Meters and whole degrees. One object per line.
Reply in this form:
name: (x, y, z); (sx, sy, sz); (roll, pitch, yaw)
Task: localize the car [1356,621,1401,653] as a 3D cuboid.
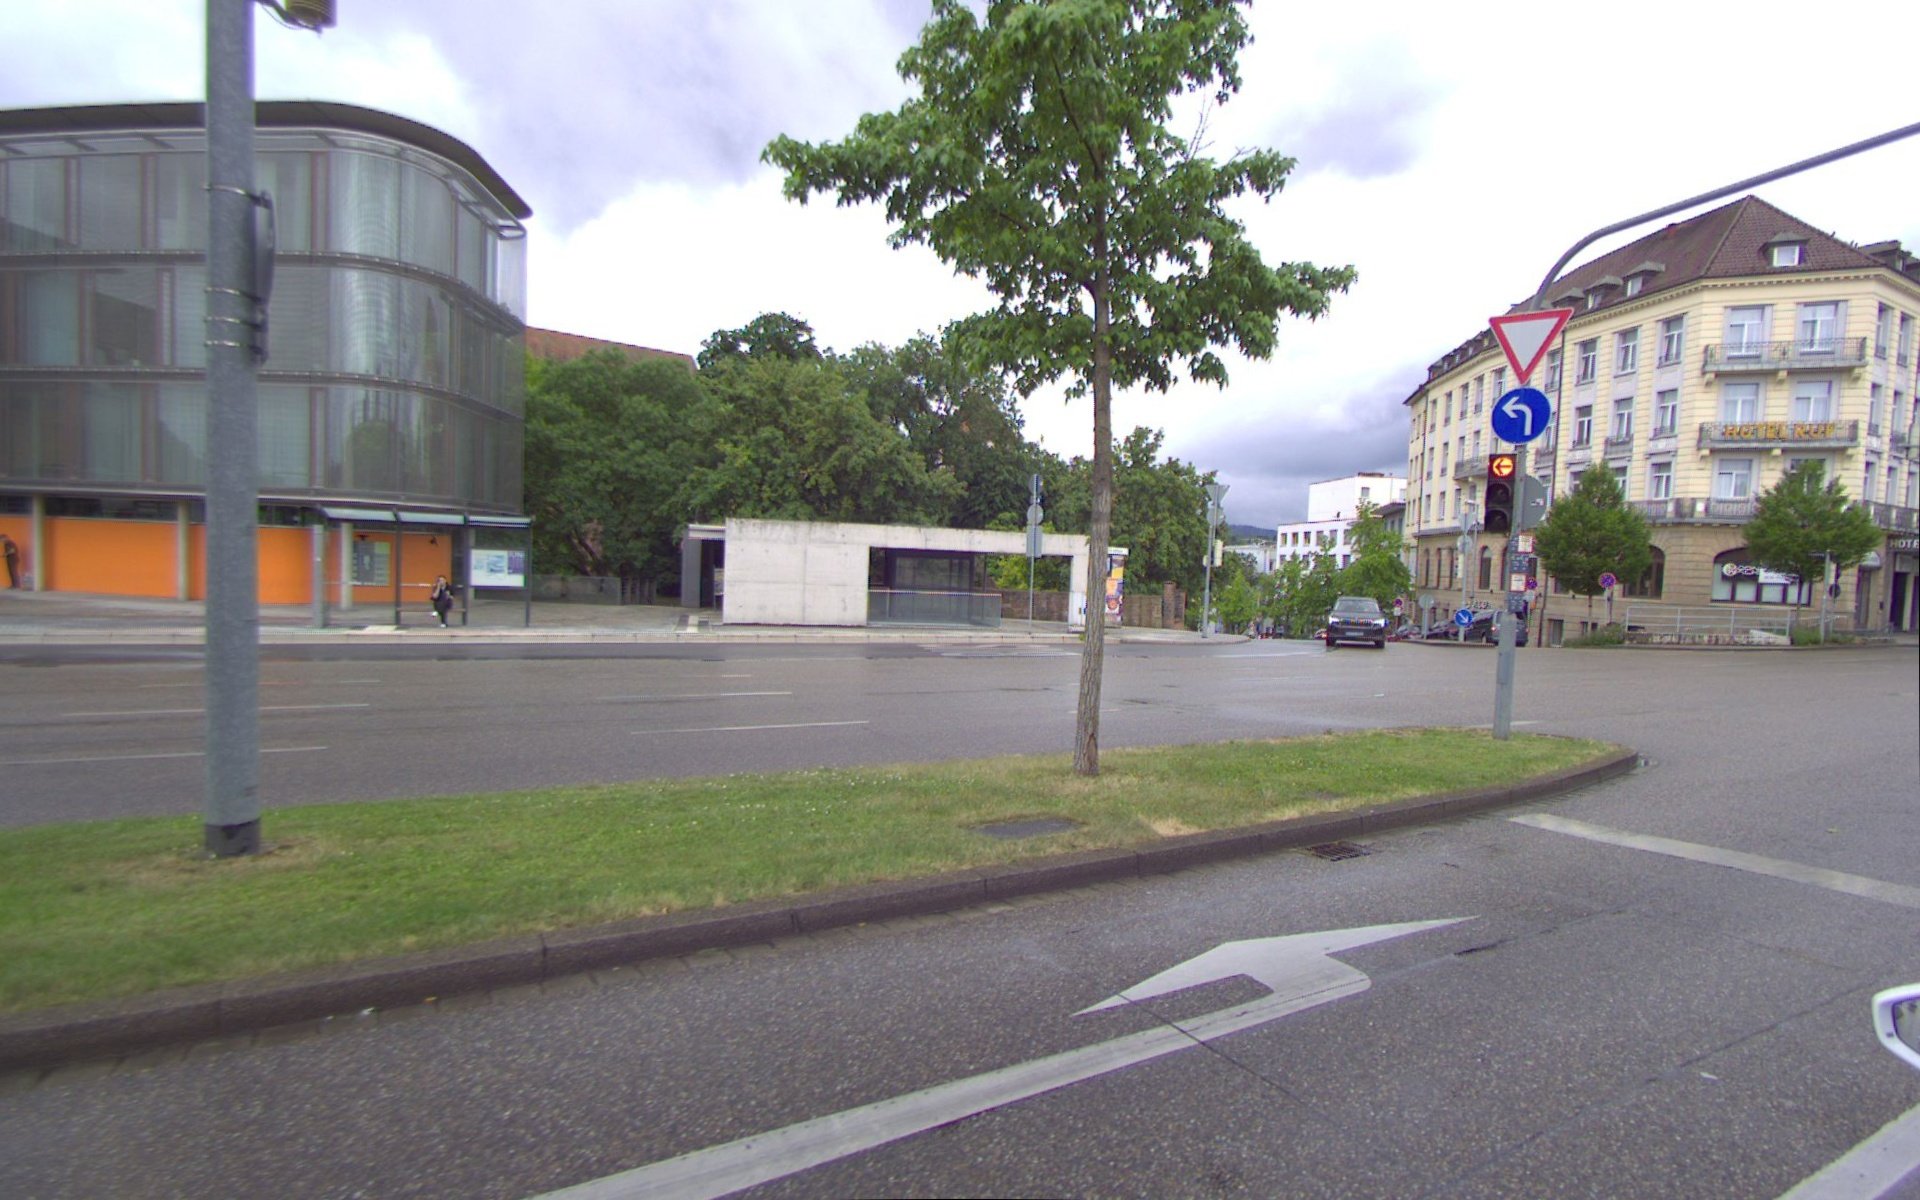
car: (27.053, 2.378, 64.995); (1.741, 1.836, 3.624); (1, 1, 7)

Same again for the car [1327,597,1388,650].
car: (13.662, 0.753, 34.449); (1.792, 1.662, 4.597); (2, 1, 22)

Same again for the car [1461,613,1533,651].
car: (25.255, 1.482, 47.389); (1.764, 1.589, 4.002); (2, 1, 9)

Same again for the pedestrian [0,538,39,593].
pedestrian: (-29.358, -1.056, 31.232); (0.834, 1.675, 0.708); (1, 1, 13)

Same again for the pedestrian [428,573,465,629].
pedestrian: (-12.538, 0.033, 24.517); (0.780, 1.341, 0.798); (1, 1, -29)

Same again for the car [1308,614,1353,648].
car: (24.571, 2.000, 66.688); (1.959, 2.041, 4.002); (1, 1, 8)

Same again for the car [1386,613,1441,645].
car: (26.665, 1.672, 59.197); (1.757, 1.662, 3.916); (1, 1, 6)

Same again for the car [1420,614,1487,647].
car: (26.418, 1.616, 53.898); (1.959, 1.662, 4.002); (1, 0, 6)
